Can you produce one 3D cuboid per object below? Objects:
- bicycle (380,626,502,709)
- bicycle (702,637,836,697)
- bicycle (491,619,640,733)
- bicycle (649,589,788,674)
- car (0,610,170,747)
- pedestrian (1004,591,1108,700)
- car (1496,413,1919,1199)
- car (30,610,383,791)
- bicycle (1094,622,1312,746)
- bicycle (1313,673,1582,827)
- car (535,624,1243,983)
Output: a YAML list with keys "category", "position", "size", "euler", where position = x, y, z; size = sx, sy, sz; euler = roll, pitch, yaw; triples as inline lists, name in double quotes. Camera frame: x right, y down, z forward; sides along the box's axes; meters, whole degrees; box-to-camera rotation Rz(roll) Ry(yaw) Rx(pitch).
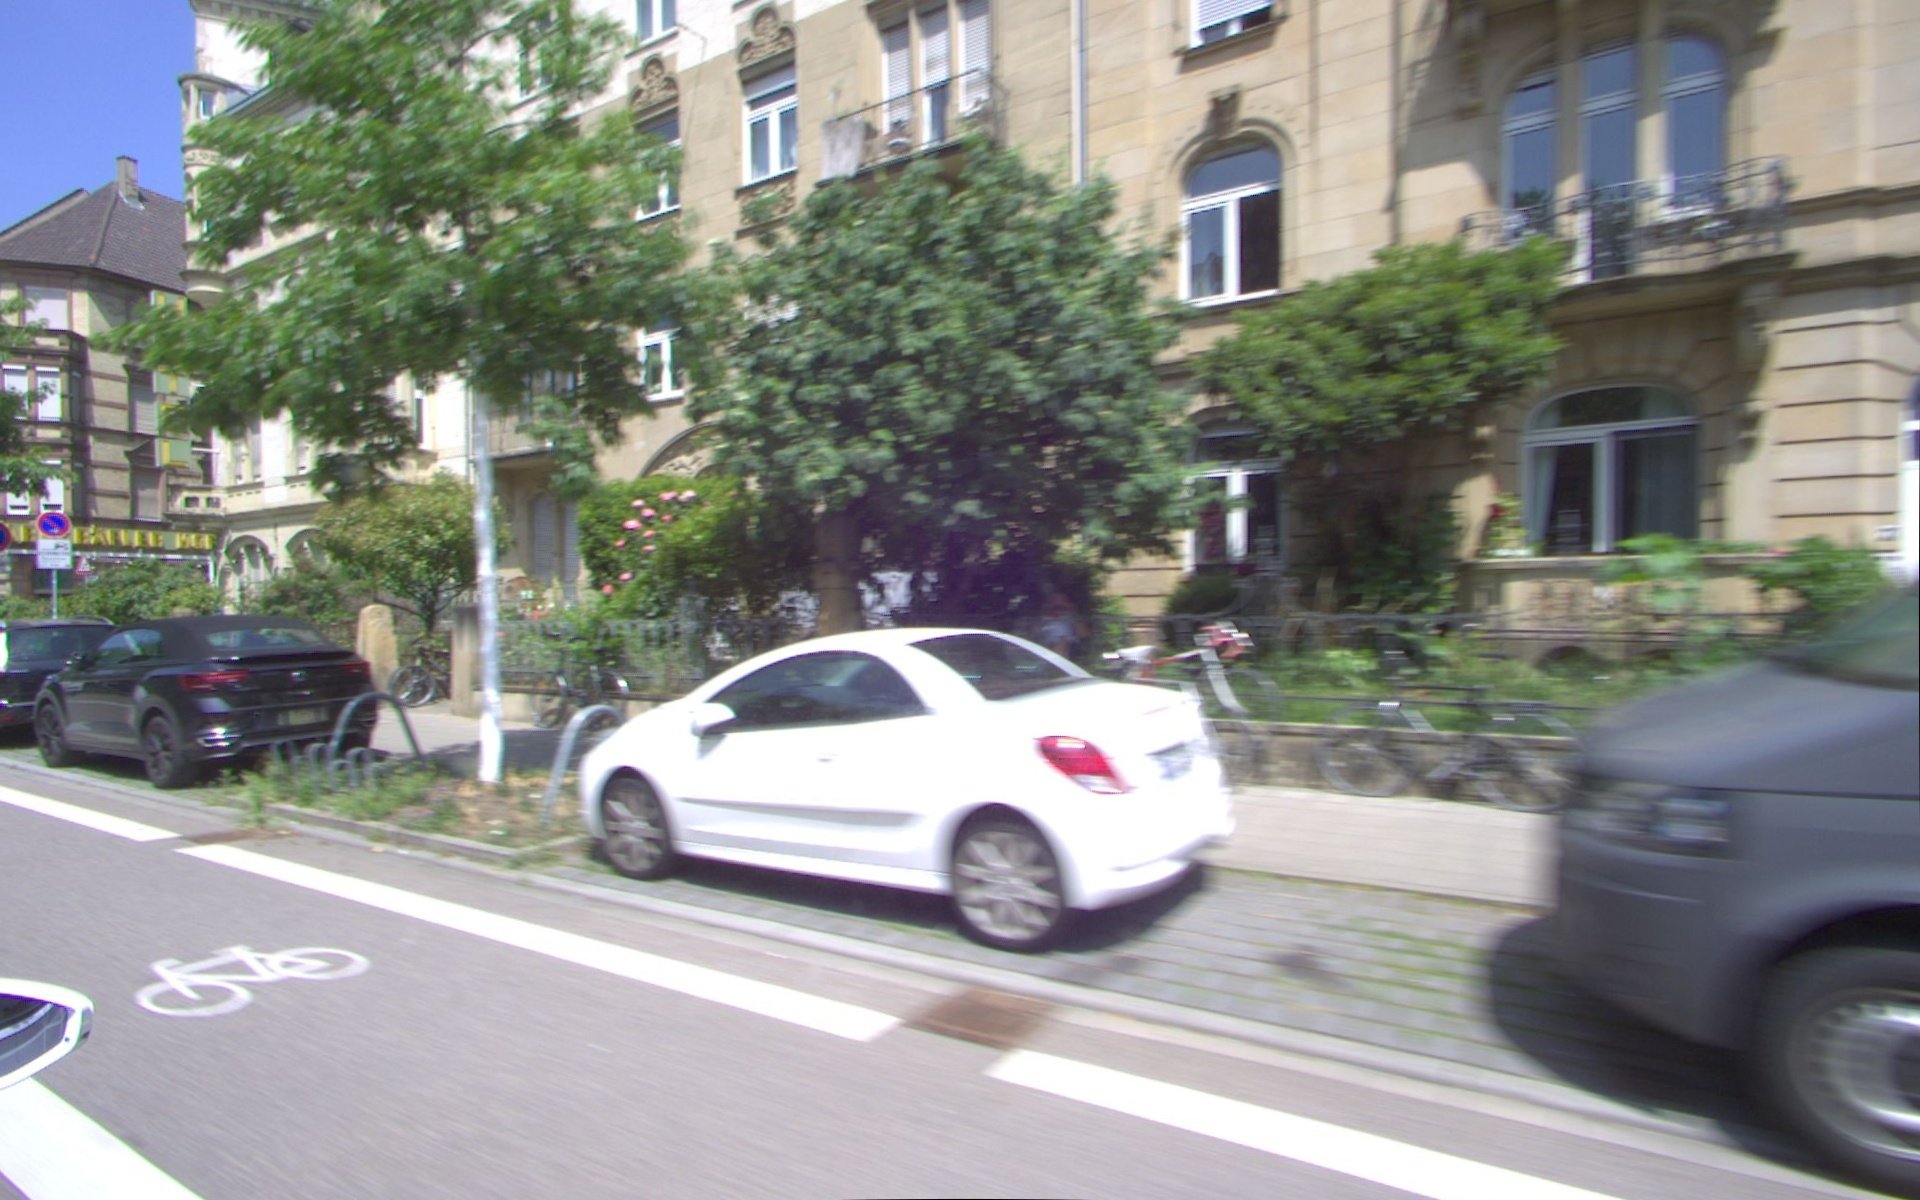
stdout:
- category: "bicycle"
  position: [-8.077, 1.024, 15.656]
  size: [0.338, 1.091, 1.684]
  euler: [0, 4, 32]
- category: "bicycle"
  position: [-3.476, 1.183, 18.049]
  size: [2.719, 0.998, 0.582]
  euler: [-1, -1, 32]
- category: "bicycle"
  position: [-4.783, 0.873, 12.078]
  size: [2.062, 1.278, 0.591]
  euler: [-1, -1, 33]
- category: "bicycle"
  position: [-4.101, 0.504, 16.858]
  size: [2.651, 1.350, 0.563]
  euler: [0, 1, 31]
- category: "car"
  position: [-12.364, 0.933, 13.201]
  size: [4.341, 1.556, 1.726]
  euler: [-1, -1, 32]
- category: "pedestrian"
  position: [1.011, 0.460, 10.471]
  size: [0.751, 1.084, 0.863]
  euler: [0, -1, 36]
- category: "car"
  position: [4.082, 0.505, 2.456]
  size: [4.768, 1.974, 1.874]
  euler: [-1, 1, 33]
- category: "car"
  position: [-7.846, 0.889, 10.340]
  size: [3.956, 1.551, 1.663]
  euler: [-1, 0, 33]
- category: "bicycle"
  position: [1.883, 0.624, 7.877]
  size: [1.612, 0.891, 0.439]
  euler: [-1, 0, 32]
- category: "bicycle"
  position: [3.285, 0.973, 6.822]
  size: [1.612, 0.891, 0.439]
  euler: [-1, 0, 32]
- category: "car"
  position: [-0.547, 0.866, 5.808]
  size: [3.943, 1.424, 1.607]
  euler: [-1, 0, 33]
